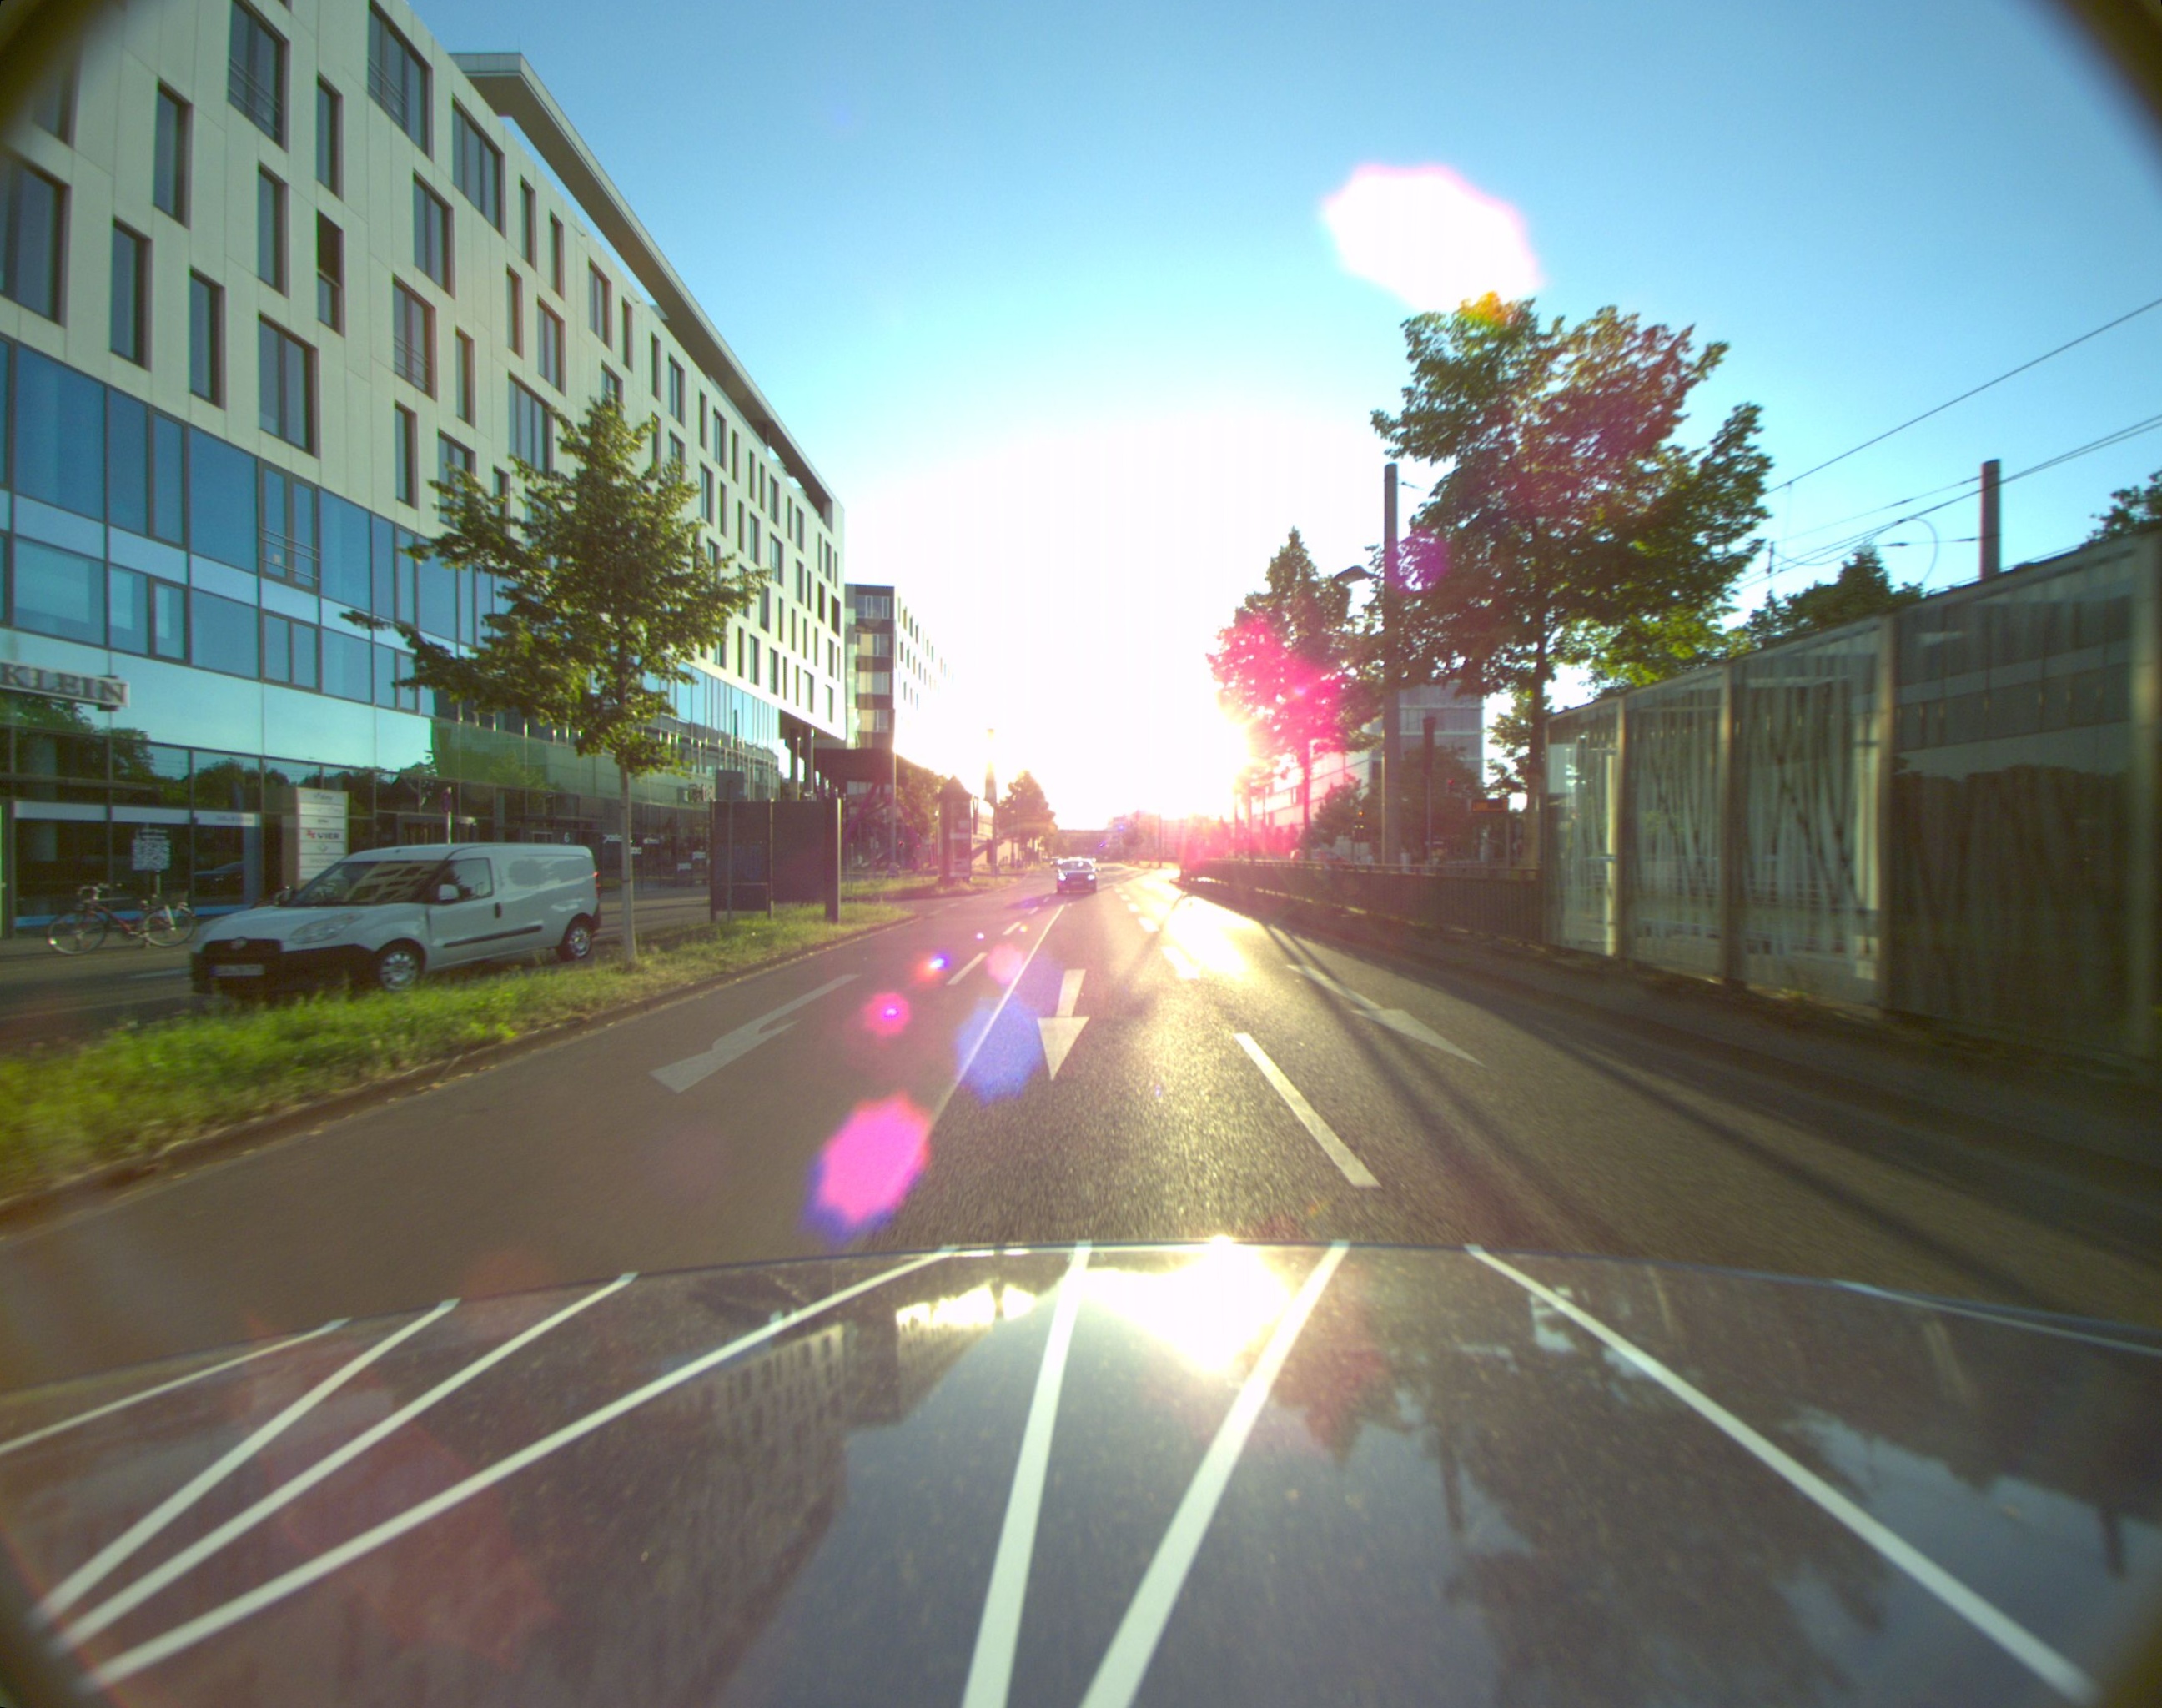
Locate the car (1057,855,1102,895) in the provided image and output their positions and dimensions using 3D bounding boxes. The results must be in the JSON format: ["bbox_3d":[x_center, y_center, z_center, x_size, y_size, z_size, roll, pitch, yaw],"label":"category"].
[{"bbox_3d":[-0.054,0.883,33.317,1.828,1.625,4.000,0,0,0],"label":"car"}]

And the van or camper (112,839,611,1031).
[{"bbox_3d":[-8.856,0.839,10.188,1.963,1.908,4.830,-2,0,1],"label":"van or camper"}]

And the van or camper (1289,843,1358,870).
[{"bbox_3d":[19.349,0.178,60.781,4.884,2.002,2.000,-2,0,2],"label":"van or camper"}]

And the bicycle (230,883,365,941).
[{"bbox_3d":[-15.685,1.139,15.290,0.530,1.034,1.878,2,0,12],"label":"bicycle"}]

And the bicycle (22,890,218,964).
[{"bbox_3d":[-15.591,1.141,12.416,0.530,1.034,1.919,2,0,12],"label":"bicycle"}]
